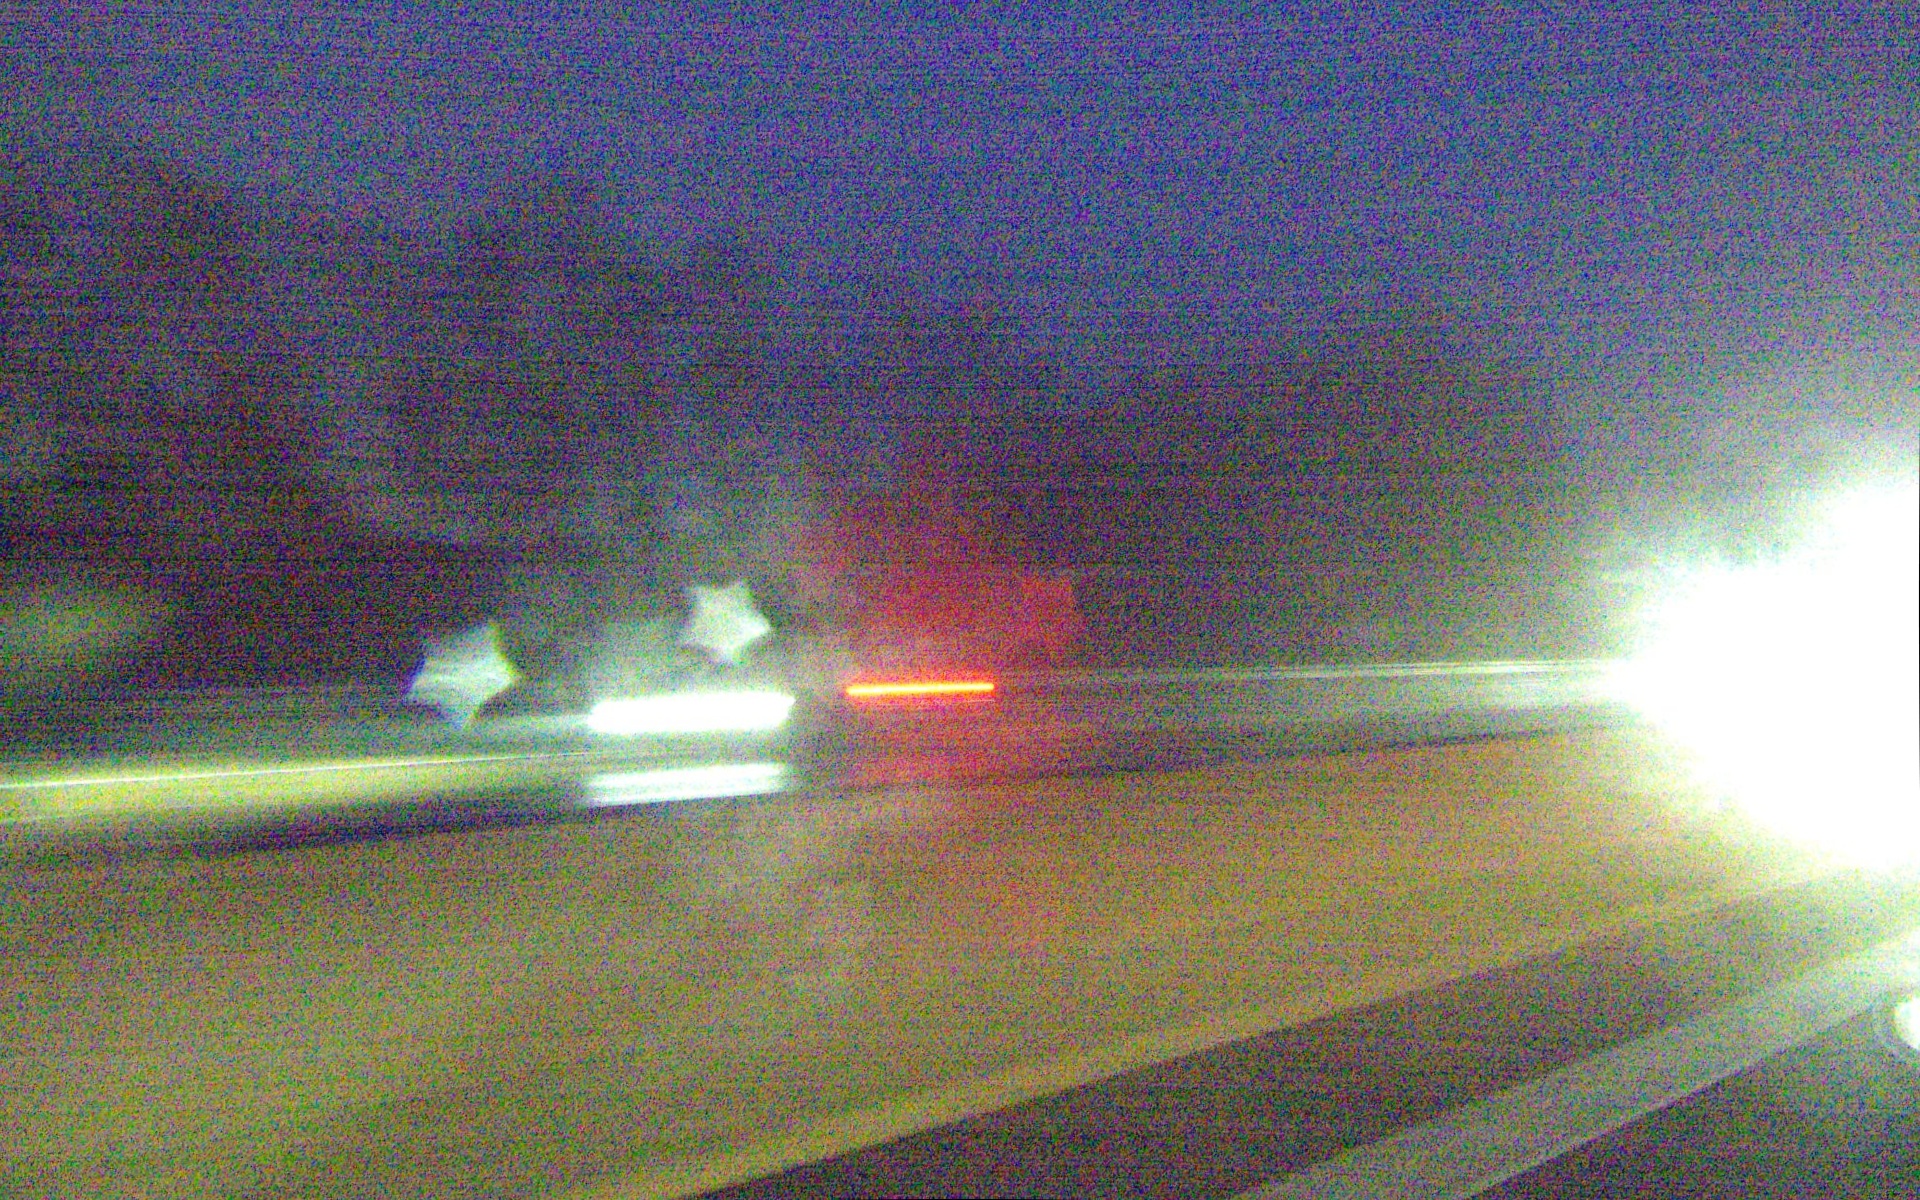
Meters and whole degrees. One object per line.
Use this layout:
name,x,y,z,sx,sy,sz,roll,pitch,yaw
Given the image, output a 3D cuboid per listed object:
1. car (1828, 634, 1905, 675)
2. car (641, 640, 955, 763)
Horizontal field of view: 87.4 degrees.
car,47.068,2.800,52.146,3.956,2.040,1.983,1,-2,-32
car,-2.682,1.588,17.034,4.905,1.784,1.983,1,-3,-32
